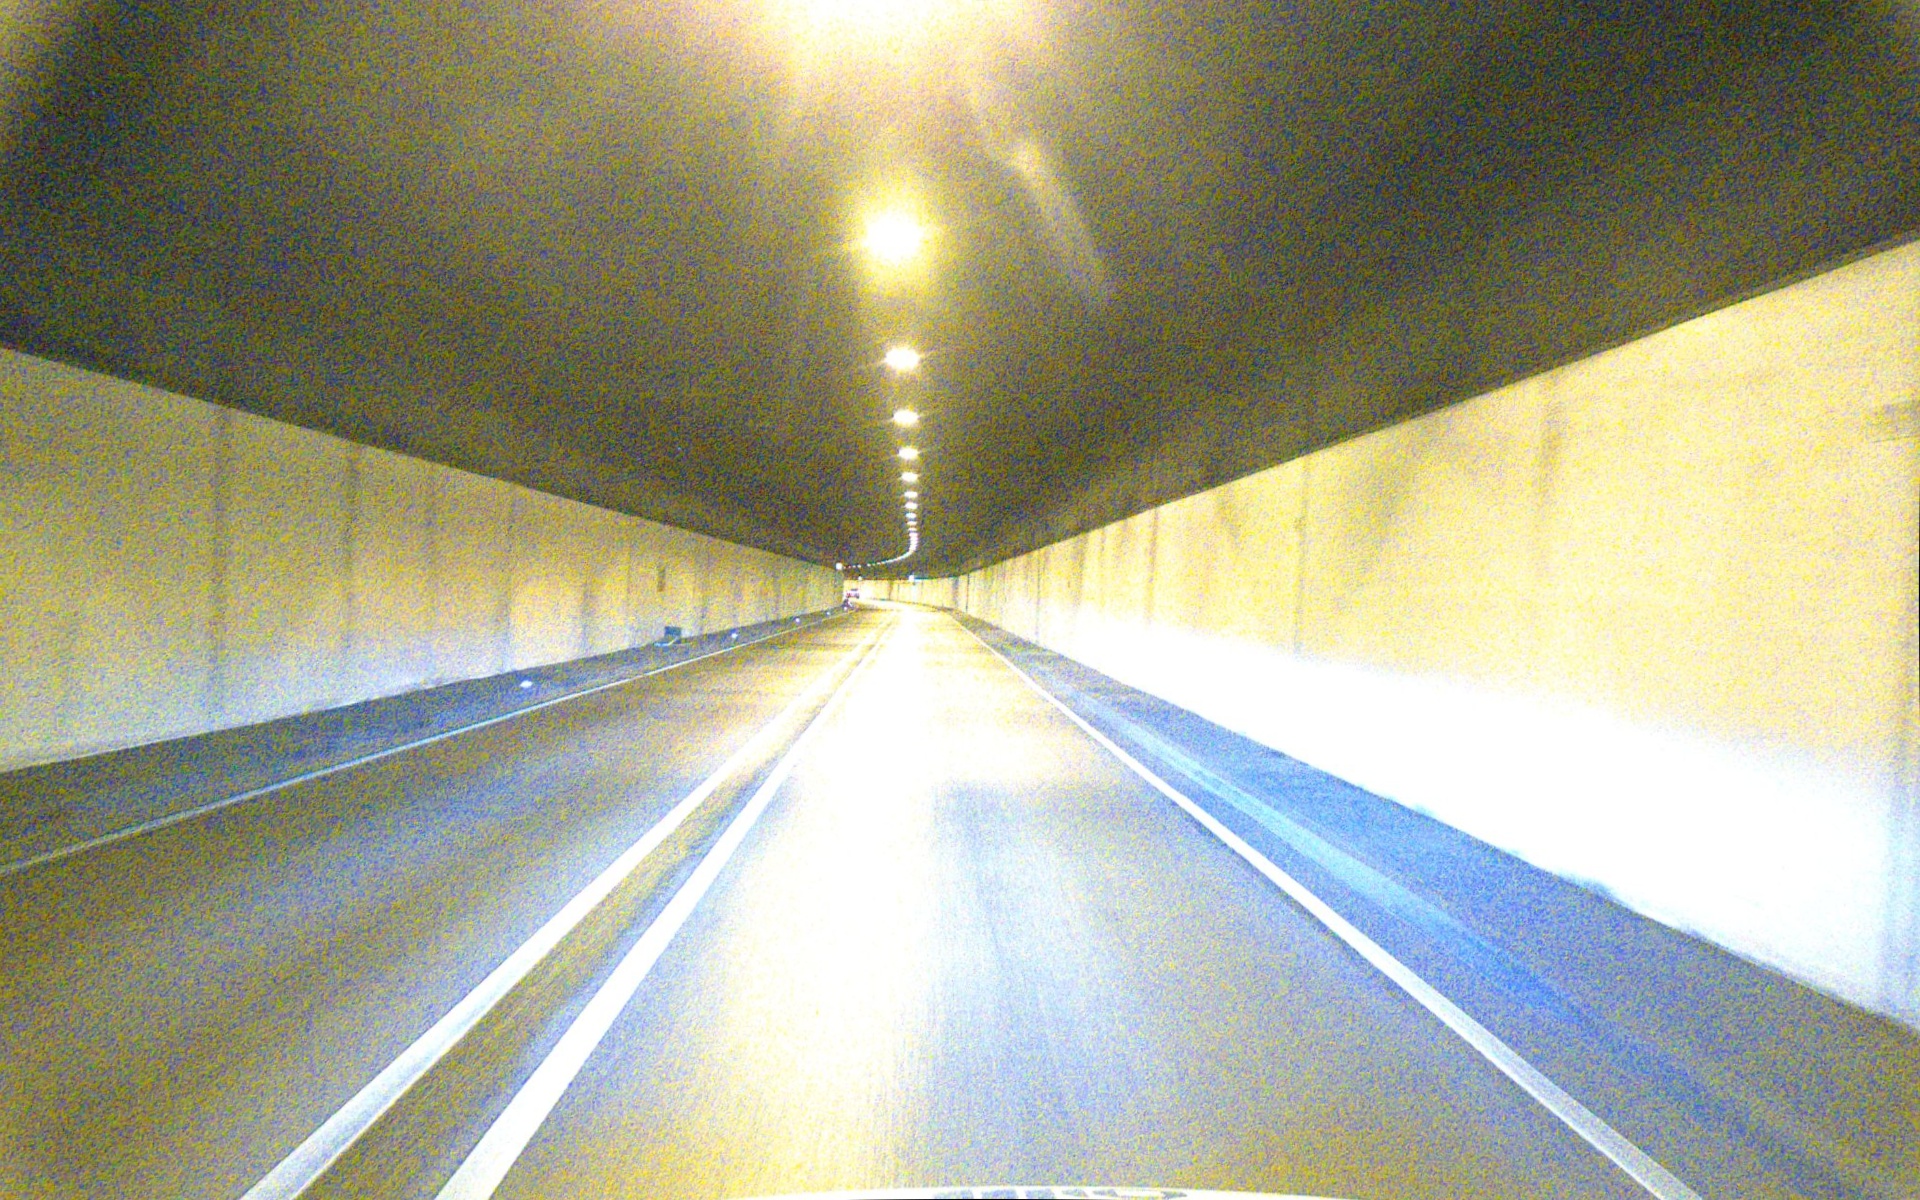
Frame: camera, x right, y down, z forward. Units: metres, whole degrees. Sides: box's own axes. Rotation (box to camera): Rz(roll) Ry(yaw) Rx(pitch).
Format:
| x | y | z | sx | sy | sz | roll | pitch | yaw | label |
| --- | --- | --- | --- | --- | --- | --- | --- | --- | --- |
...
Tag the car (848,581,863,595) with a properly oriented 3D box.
| x | y | z | sx | sy | sz | roll | pitch | yaw | label |
| --- | --- | --- | --- | --- | --- | --- | --- | --- | --- |
| -15.868 | -1.829 | 250.693 | 1.930 | 1.973 | 4.604 | 2 | 0 | -8 | car |
